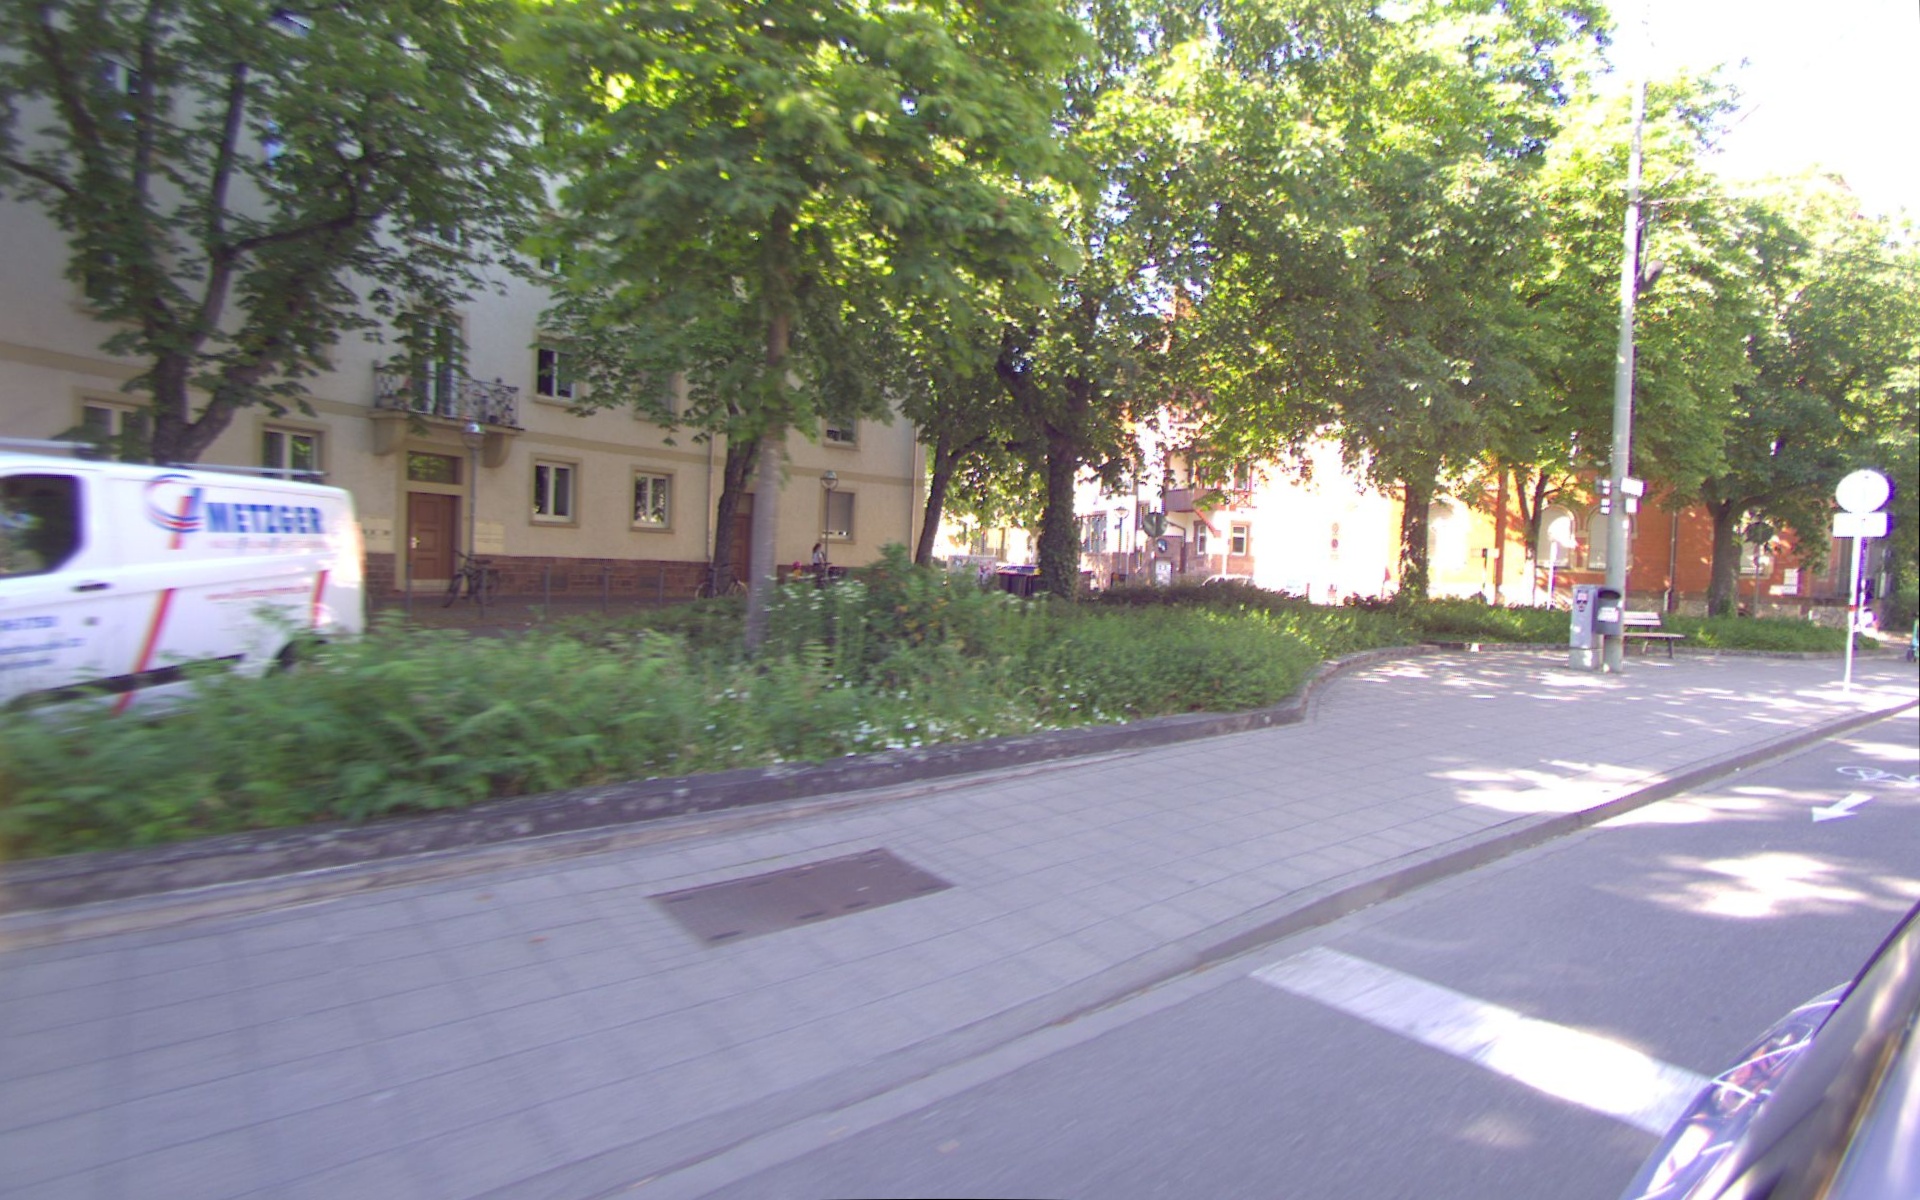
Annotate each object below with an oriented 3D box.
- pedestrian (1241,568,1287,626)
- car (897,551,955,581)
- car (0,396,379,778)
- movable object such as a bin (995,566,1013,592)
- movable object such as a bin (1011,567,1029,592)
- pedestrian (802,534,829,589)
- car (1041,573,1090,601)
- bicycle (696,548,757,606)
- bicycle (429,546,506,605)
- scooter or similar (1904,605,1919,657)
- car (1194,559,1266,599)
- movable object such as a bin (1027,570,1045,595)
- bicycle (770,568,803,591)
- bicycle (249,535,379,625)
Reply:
[{"bbox_3d":[6.703,-0.069,22.314,1.022,1.247,0.451,1,1,-38],"label":"pedestrian"},{"bbox_3d":[-2.095,-2.094,62.274,3.277,1.757,1.503,1,1,-20],"label":"car"},{"bbox_3d":[-6.092,-0.100,6.546,1.657,2.118,4.753,1,1,4],"label":"car"},{"bbox_3d":[1.725,-0.817,39.505,0.532,0.977,0.644,1,1,-11],"label":"movable object such as a bin"},{"bbox_3d":[2.350,-0.795,39.639,0.570,0.977,0.644,1,1,-11],"label":"movable object such as a bin"},{"bbox_3d":[-4.490,-1.193,31.448,0.618,1.655,0.572,1,1,-39],"label":"pedestrian"},{"bbox_3d":[5.854,-0.750,56.315,1.600,1.475,3.556,1,1,-13],"label":"car"},{"bbox_3d":[-5.564,-0.535,24.174,0.425,1.296,1.471,5,2,32],"label":"bicycle"},{"bbox_3d":[-10.123,-0.515,20.836,0.455,1.129,1.557,4,3,17],"label":"bicycle"},{"bbox_3d":[24.110,0.806,25.298,1.252,1.264,0.520,3,0,-38],"label":"scooter or similar"},{"bbox_3d":[12.498,-0.961,47.045,1.601,1.738,3.811,1,1,-13],"label":"car"},{"bbox_3d":[2.967,-0.693,39.753,0.532,0.977,0.644,1,1,-11],"label":"movable object such as a bin"},{"bbox_3d":[-5.085,-0.598,29.686,0.430,0.644,0.904,2,1,38],"label":"bicycle"},{"bbox_3d":[-10.033,-0.308,15.799,0.422,1.296,1.821,4,2,17],"label":"bicycle"}]
